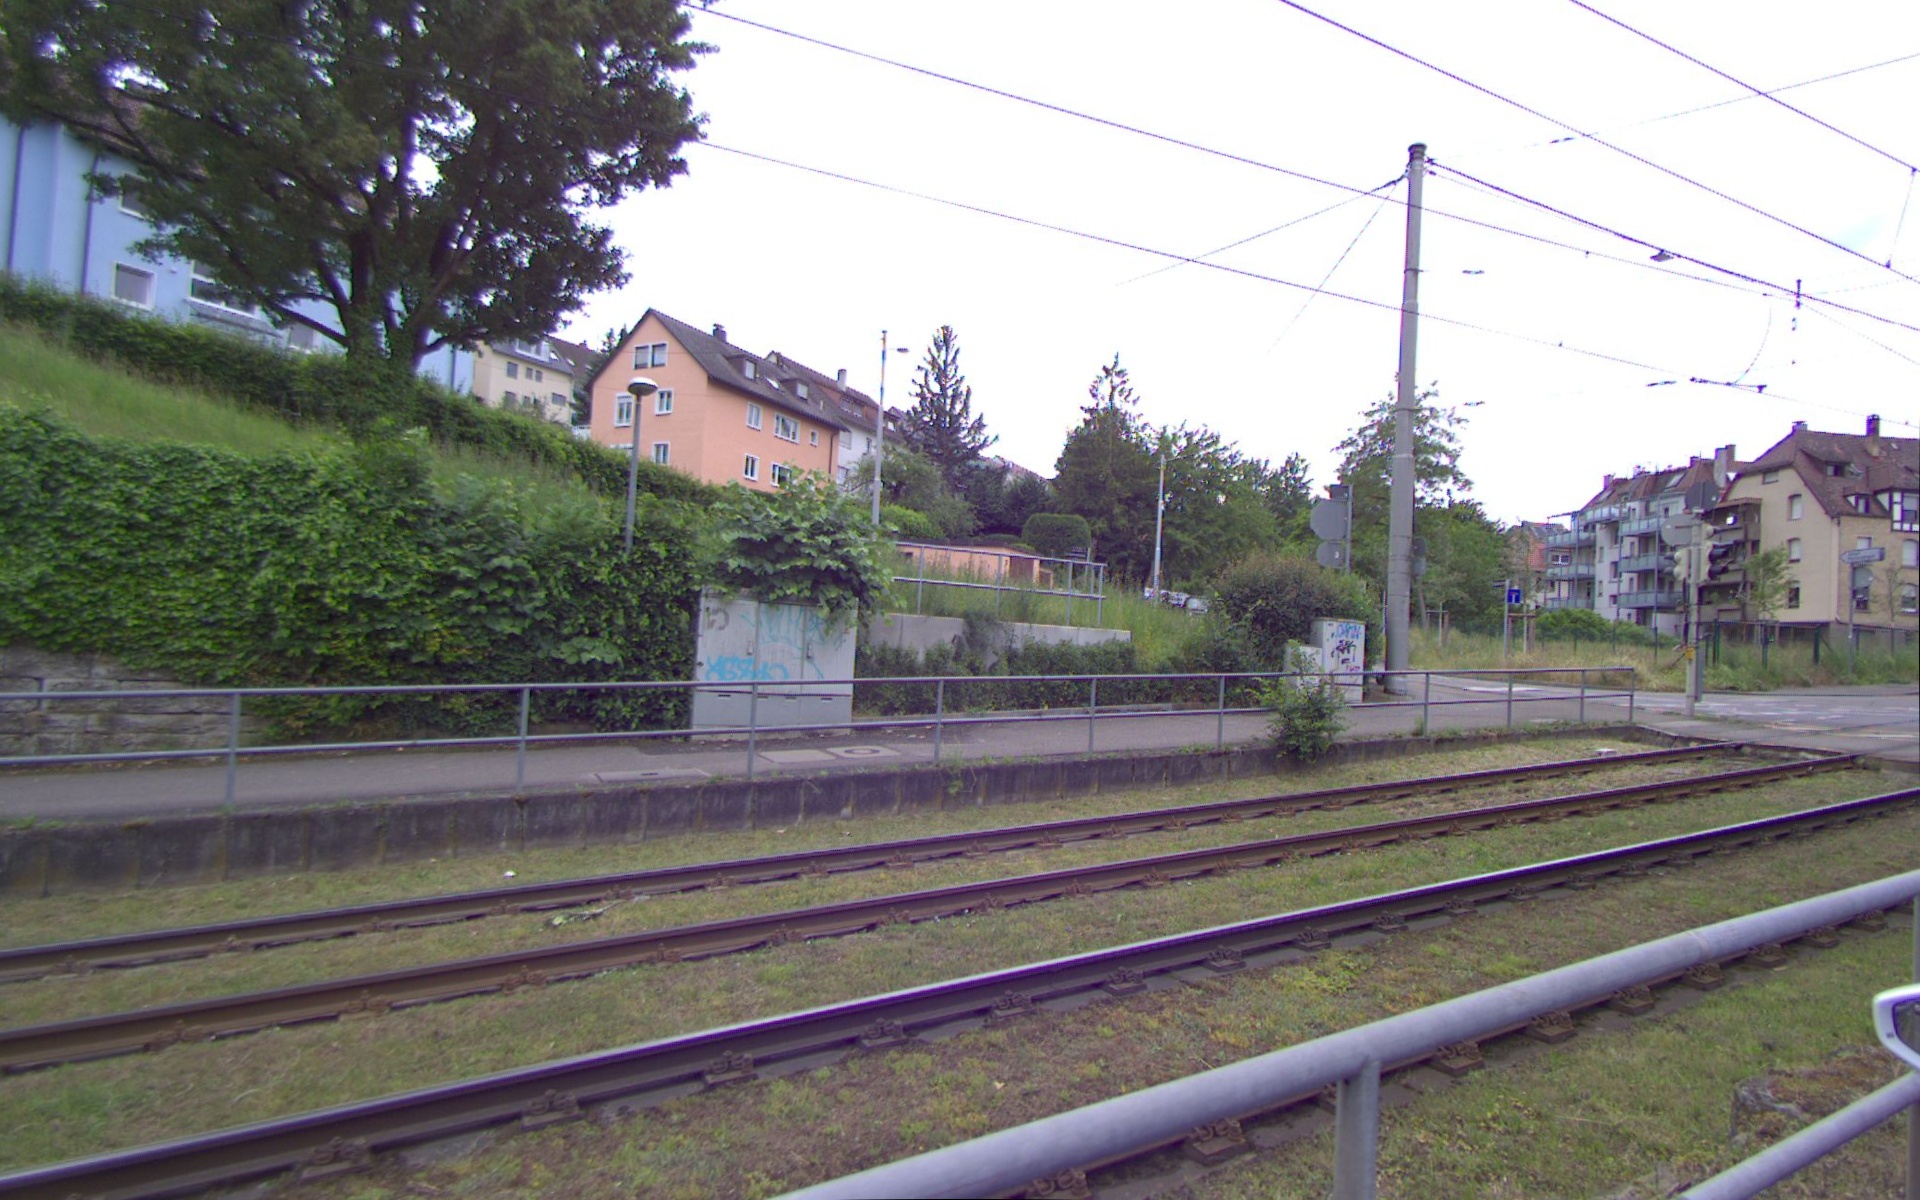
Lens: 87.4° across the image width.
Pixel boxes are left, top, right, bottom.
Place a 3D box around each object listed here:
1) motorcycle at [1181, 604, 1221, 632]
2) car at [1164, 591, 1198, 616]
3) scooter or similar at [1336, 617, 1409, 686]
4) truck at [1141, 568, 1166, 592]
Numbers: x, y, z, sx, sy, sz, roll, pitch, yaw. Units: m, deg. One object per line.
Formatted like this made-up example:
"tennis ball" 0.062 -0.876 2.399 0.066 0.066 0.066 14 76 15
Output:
"motorcycle" 11.320 0.853 47.171 1.671 1.172 0.522 5 0 6
"car" 14.200 0.241 64.749 1.942 1.531 4.135 1 -1 10
"scooter or similar" 8.620 1.057 21.050 0.413 1.306 1.402 1 3 -29
"truck" 32.071 -3.286 166.573 3.488 3.648 8.205 1 -1 7
